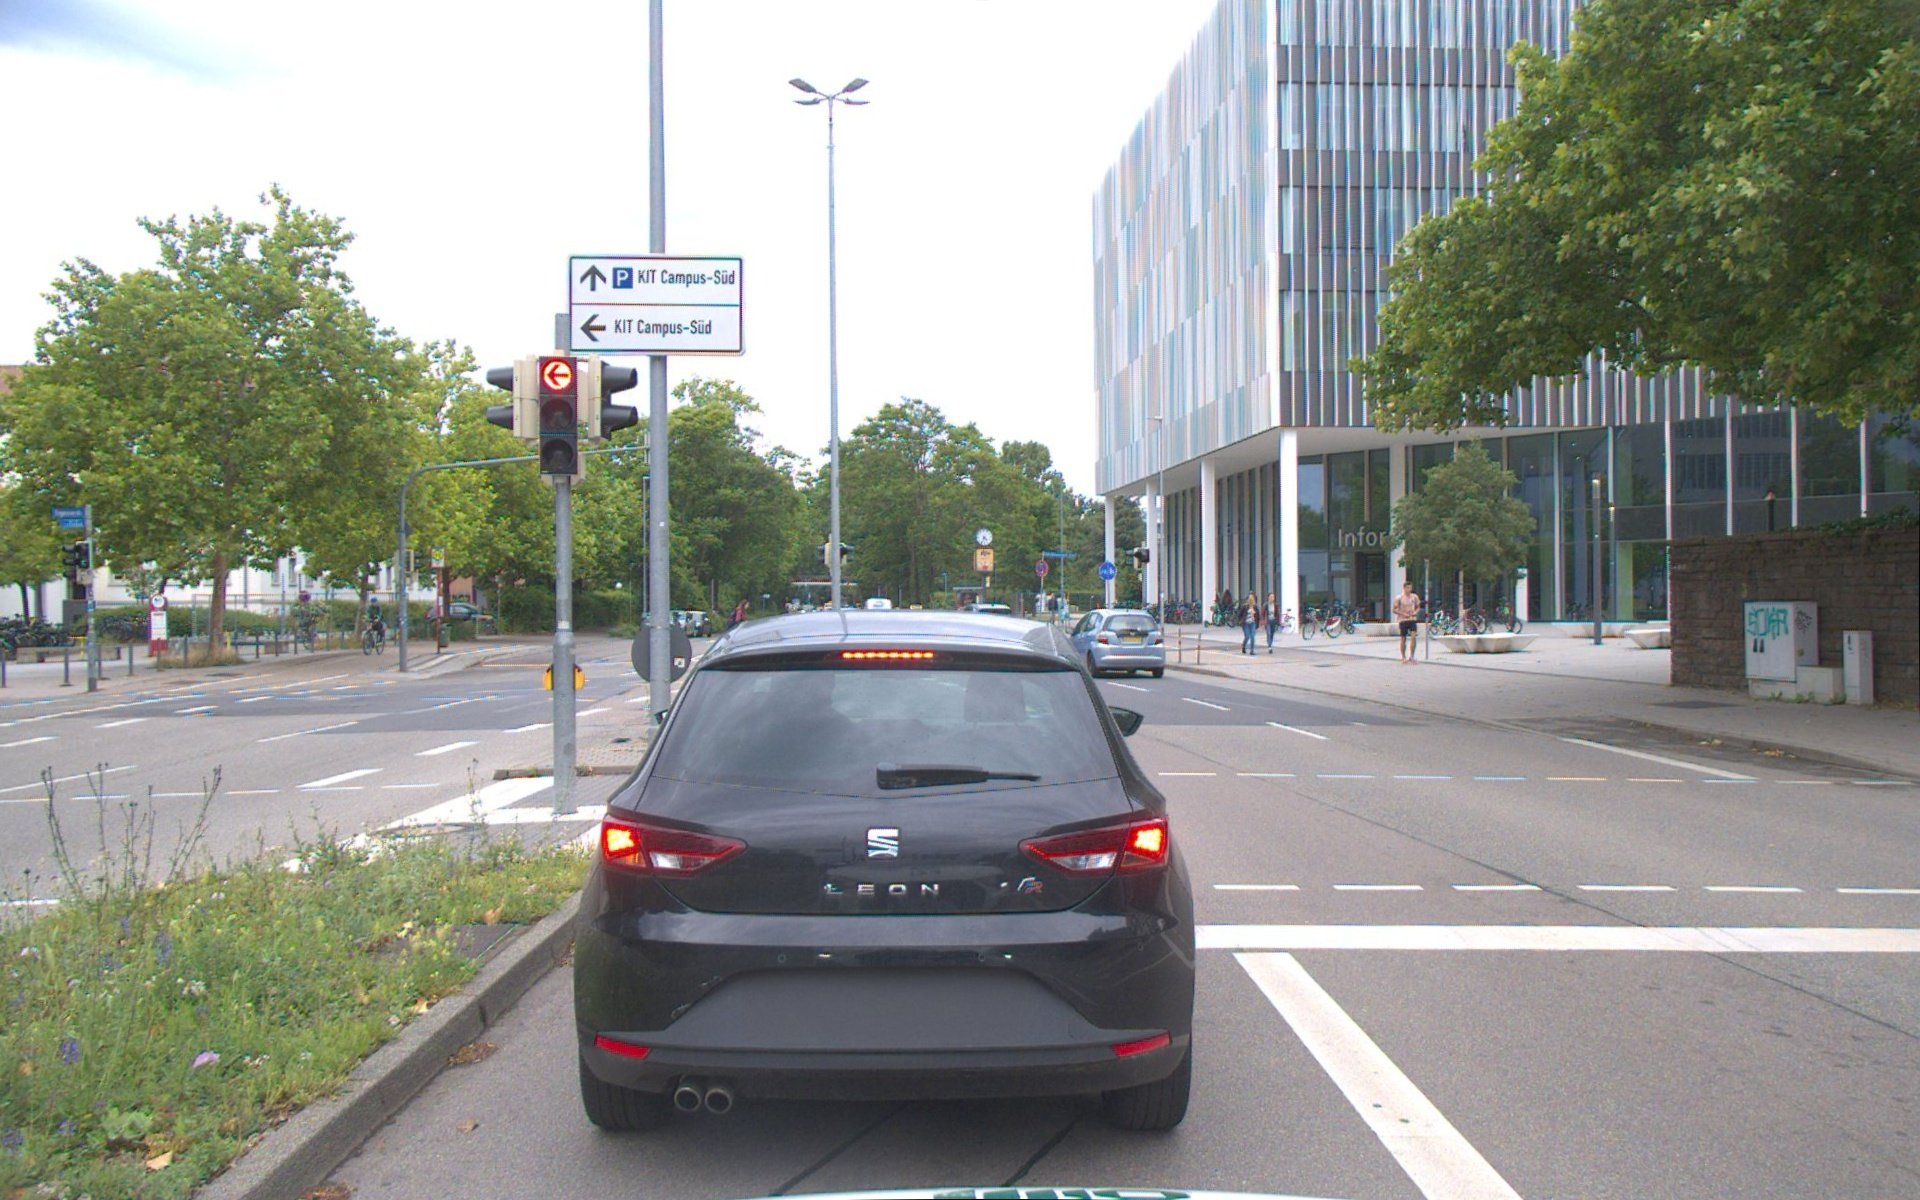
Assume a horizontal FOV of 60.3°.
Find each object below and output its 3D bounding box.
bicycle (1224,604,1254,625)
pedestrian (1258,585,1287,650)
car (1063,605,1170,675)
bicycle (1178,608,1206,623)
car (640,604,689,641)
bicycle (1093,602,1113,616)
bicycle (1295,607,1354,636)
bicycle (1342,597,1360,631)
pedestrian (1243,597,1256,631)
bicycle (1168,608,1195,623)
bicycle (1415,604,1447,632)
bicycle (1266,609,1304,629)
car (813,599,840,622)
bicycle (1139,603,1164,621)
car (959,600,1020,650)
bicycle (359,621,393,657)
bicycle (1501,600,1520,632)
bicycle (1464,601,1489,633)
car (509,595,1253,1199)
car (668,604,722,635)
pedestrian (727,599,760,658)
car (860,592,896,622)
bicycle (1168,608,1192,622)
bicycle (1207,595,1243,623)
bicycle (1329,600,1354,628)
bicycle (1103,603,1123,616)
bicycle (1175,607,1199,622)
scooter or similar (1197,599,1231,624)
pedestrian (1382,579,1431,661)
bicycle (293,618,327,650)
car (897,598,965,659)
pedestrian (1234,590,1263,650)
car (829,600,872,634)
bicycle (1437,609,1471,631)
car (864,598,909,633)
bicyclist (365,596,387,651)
[{"bbox_3d":[12.836,0.663,76.206,1.421,0.872,0.361,-2,0,-28],"label":"bicycle"},{"bbox_3d":[8.863,0.496,46.899,0.673,1.812,0.677,0,0,-1],"label":"pedestrian"},{"bbox_3d":[3.502,0.865,37.604,1.635,1.492,3.653,0,0,-8],"label":"car"},{"bbox_3d":[11.832,0.794,84.358,1.346,0.717,0.416,-2,0,2],"label":"bicycle"},{"bbox_3d":[-15.343,1.137,86.069,1.868,1.747,3.999,-2,1,-1],"label":"car"},{"bbox_3d":[9.428,0.615,109.064,1.241,0.863,0.479,2,-1,-23],"label":"bicycle"},{"bbox_3d":[12.423,0.720,56.370,1.860,0.914,0.693,-2,0,-22],"label":"bicycle"},{"bbox_3d":[15.289,0.526,64.612,0.515,1.275,1.667,-2,0,17],"label":"bicycle"},{"bbox_3d":[12.055,0.564,68.868,0.462,1.385,0.446,-2,0,9],"label":"pedestrian"},{"bbox_3d":[11.546,0.813,86.150,1.345,0.717,0.489,-2,0,8],"label":"bicycle"},{"bbox_3d":[17.499,0.664,61.412,0.682,0.963,1.981,-2,1,29],"label":"bicycle"},{"bbox_3d":[13.729,0.794,69.871,1.450,0.761,0.565,-2,0,-4],"label":"bicycle"},{"bbox_3d":[-8.970,0.689,110.703,1.689,1.439,4.240,1,1,-6],"label":"car"},{"bbox_3d":[10.644,0.662,91.997,1.357,0.958,0.488,-1,0,6],"label":"bicycle"},{"bbox_3d":[0.988,0.825,57.646,1.869,1.653,4.489,1,0,-2],"label":"car"},{"bbox_3d":[-17.935,1.198,50.799,0.478,1.023,1.589,1,1,-1],"label":"bicycle"},{"bbox_3d":[19.618,0.572,58.963,0.609,1.074,1.950,-2,1,19],"label":"bicycle"},{"bbox_3d":[18.712,0.606,59.874,0.792,1.074,1.950,-2,1,19],"label":"bicycle"},{"bbox_3d":[-0.136,0.727,5.733,1.717,1.457,3.770,1,0,1],"label":"car"},{"bbox_3d":[-15.352,1.106,95.973,1.721,1.615,4.004,-2,1,12],"label":"car"},{"bbox_3d":[-6.069,0.786,46.475,0.858,1.614,0.542,-2,0,-8],"label":"pedestrian"},{"bbox_3d":[-5.672,0.470,113.985,1.930,2.007,4.333,1,0,-10],"label":"car"},{"bbox_3d":[11.580,0.787,87.043,1.213,0.717,0.489,-2,0,8],"label":"bicycle"},{"bbox_3d":[12.478,0.414,77.908,1.758,1.232,0.563,-2,0,-35],"label":"bicycle"},{"bbox_3d":[15.540,0.556,67.408,0.607,1.064,1.704,-2,1,25],"label":"bicycle"},{"bbox_3d":[9.913,0.602,106.997,1.218,0.837,0.479,2,-1,-23],"label":"bicycle"},{"bbox_3d":[12.044,0.763,87.732,1.246,0.717,0.485,-2,0,6],"label":"bicycle"},{"bbox_3d":[12.070,0.542,78.479,1.655,1.126,0.493,-2,0,-33],"label":"scooter or similar"},{"bbox_3d":[10.116,0.448,37.498,0.830,1.795,0.767,-2,0,-1],"label":"pedestrian"},{"bbox_3d":[-23.249,1.217,59.160,0.596,1.079,2.041,-2,0,-7],"label":"bicycle"},{"bbox_3d":[-0.887,0.799,48.304,1.845,1.628,4.445,2,0,-2],"label":"car"},{"bbox_3d":[8.169,0.565,46.830,0.673,1.668,0.632,1,0,-1],"label":"pedestrian"},{"bbox_3d":[-4.886,0.733,73.209,1.747,1.488,3.866,0,0,-6],"label":"car"},{"bbox_3d":[18.197,0.739,60.908,1.515,0.728,0.511,-3,1,-44],"label":"bicycle"},{"bbox_3d":[-3.479,0.780,78.955,1.787,1.578,4.527,1,-1,1],"label":"car"},{"bbox_3d":[-17.932,0.720,50.785,0.481,1.653,0.588,1,1,-1],"label":"bicyclist"}]
